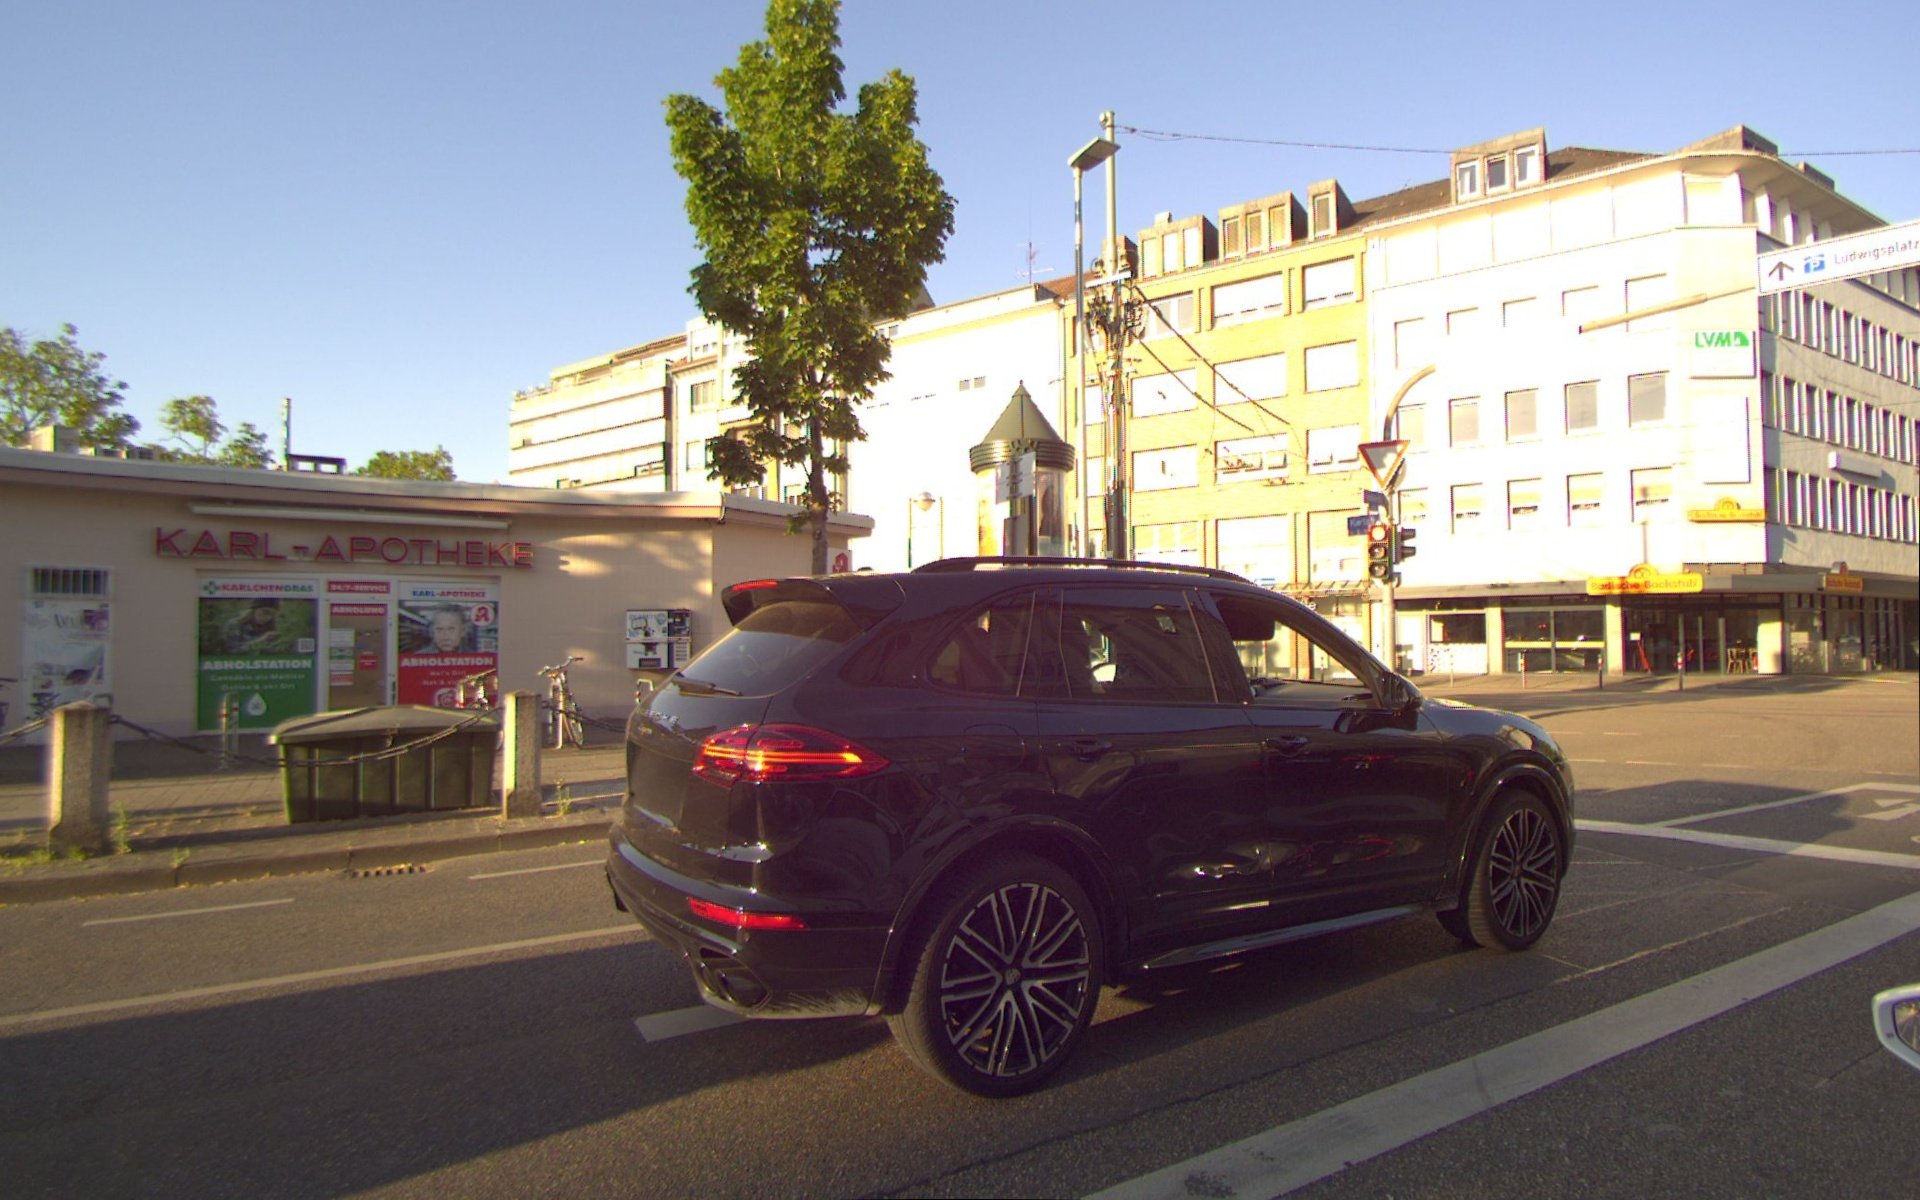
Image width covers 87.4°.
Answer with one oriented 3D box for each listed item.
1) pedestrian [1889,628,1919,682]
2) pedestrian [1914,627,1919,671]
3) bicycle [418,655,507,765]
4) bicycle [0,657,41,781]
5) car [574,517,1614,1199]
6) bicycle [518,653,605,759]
[{"bbox_3d":[28.258,1.612,29.563,0.930,1.557,0.909,0,-2,2],"label":"pedestrian"},{"bbox_3d":[37.709,1.882,38.935,0.862,1.698,0.819,1,-3,-32],"label":"pedestrian"},{"bbox_3d":[-6.441,1.353,12.947,0.938,1.273,1.997,1,-3,-29],"label":"bicycle"},{"bbox_3d":[-10.329,1.245,10.497,0.625,1.273,1.846,1,-3,-29],"label":"bicycle"},{"bbox_3d":[0.793,0.729,4.584,4.511,1.736,1.939,1,-3,-32],"label":"car"},{"bbox_3d":[-5.387,1.351,13.487,0.778,1.273,2.433,1,-3,-29],"label":"bicycle"}]
